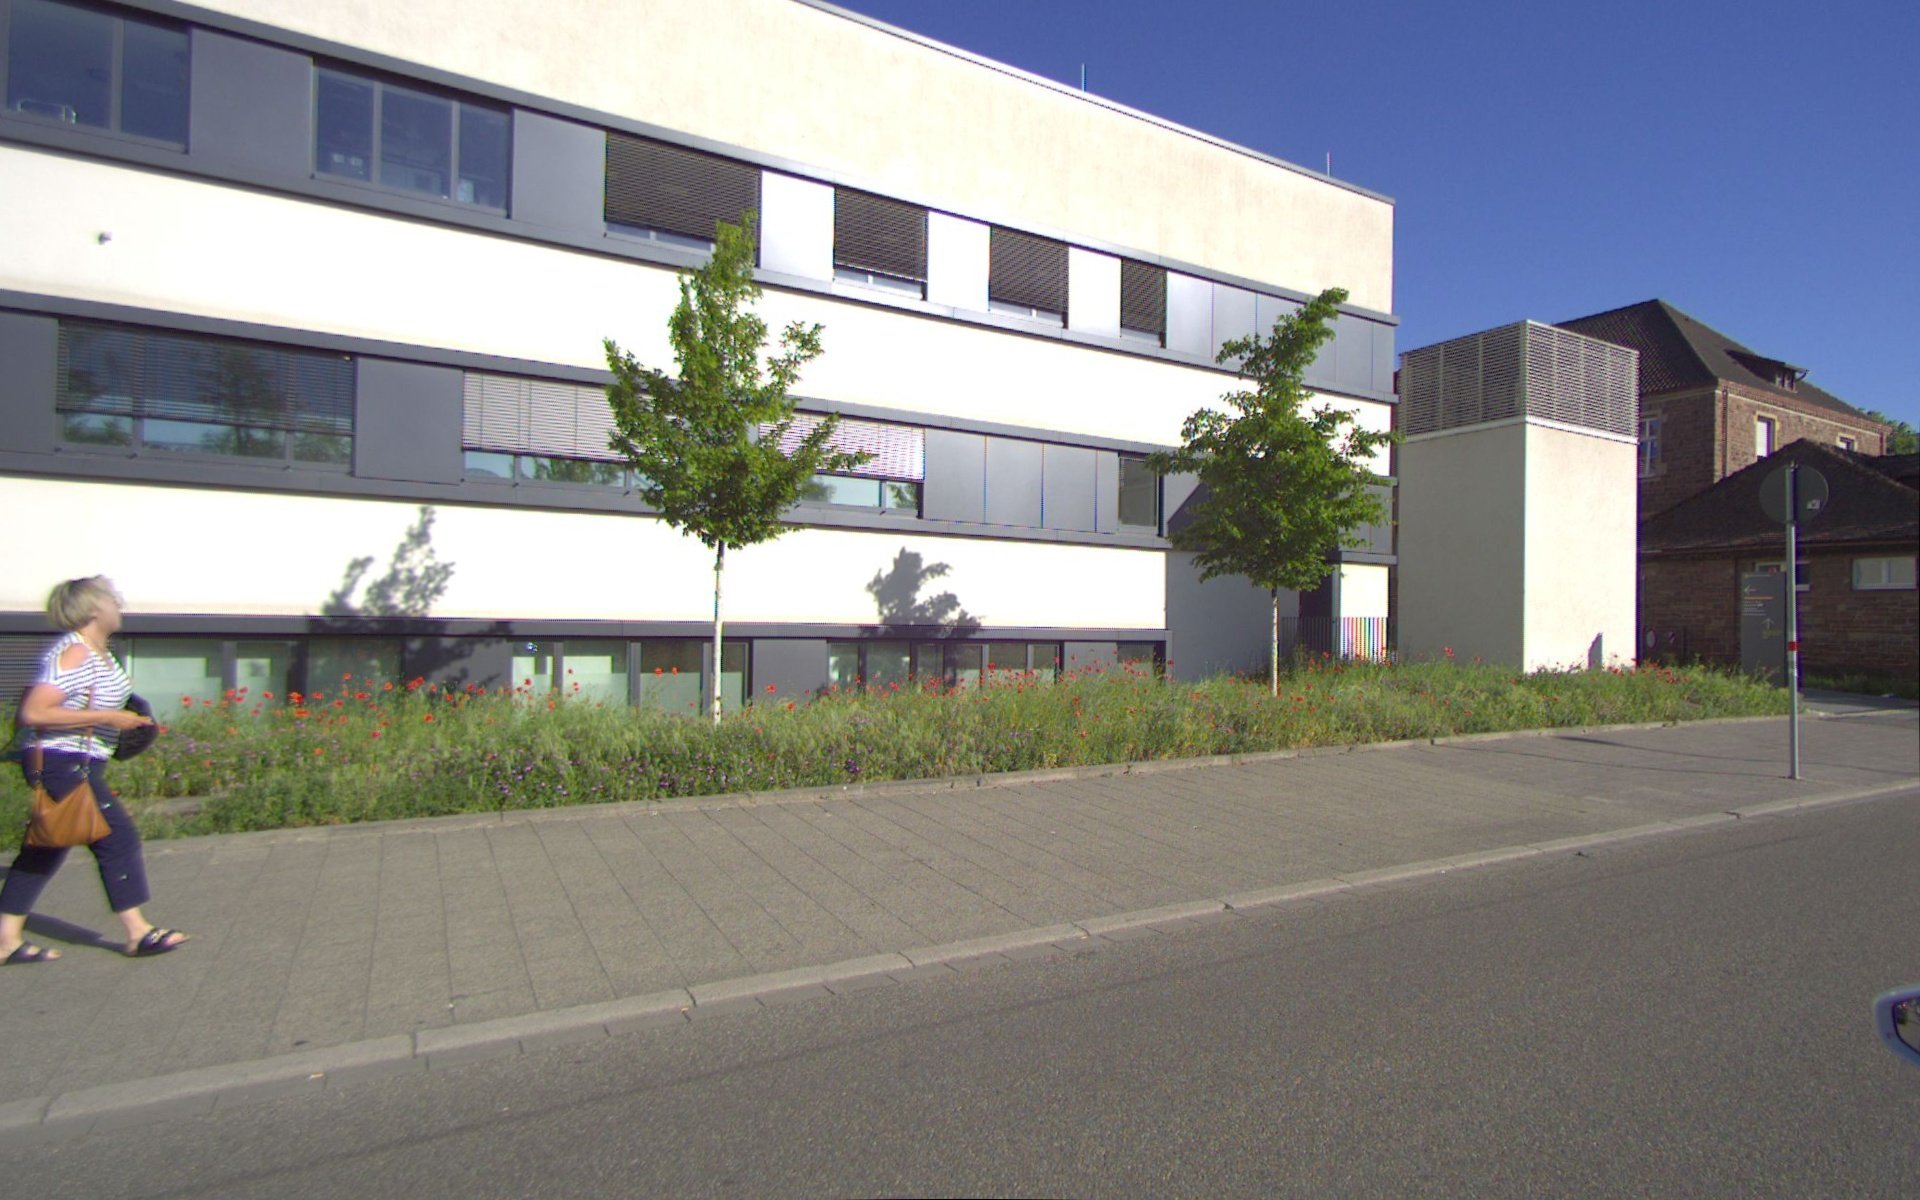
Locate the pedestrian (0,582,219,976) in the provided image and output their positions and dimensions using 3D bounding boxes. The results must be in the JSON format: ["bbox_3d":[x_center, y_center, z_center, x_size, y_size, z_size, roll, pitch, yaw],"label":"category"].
[{"bbox_3d":[-3.628,0.711,4.323,0.600,1.544,0.536,1,-1,-28],"label":"pedestrian"}]
